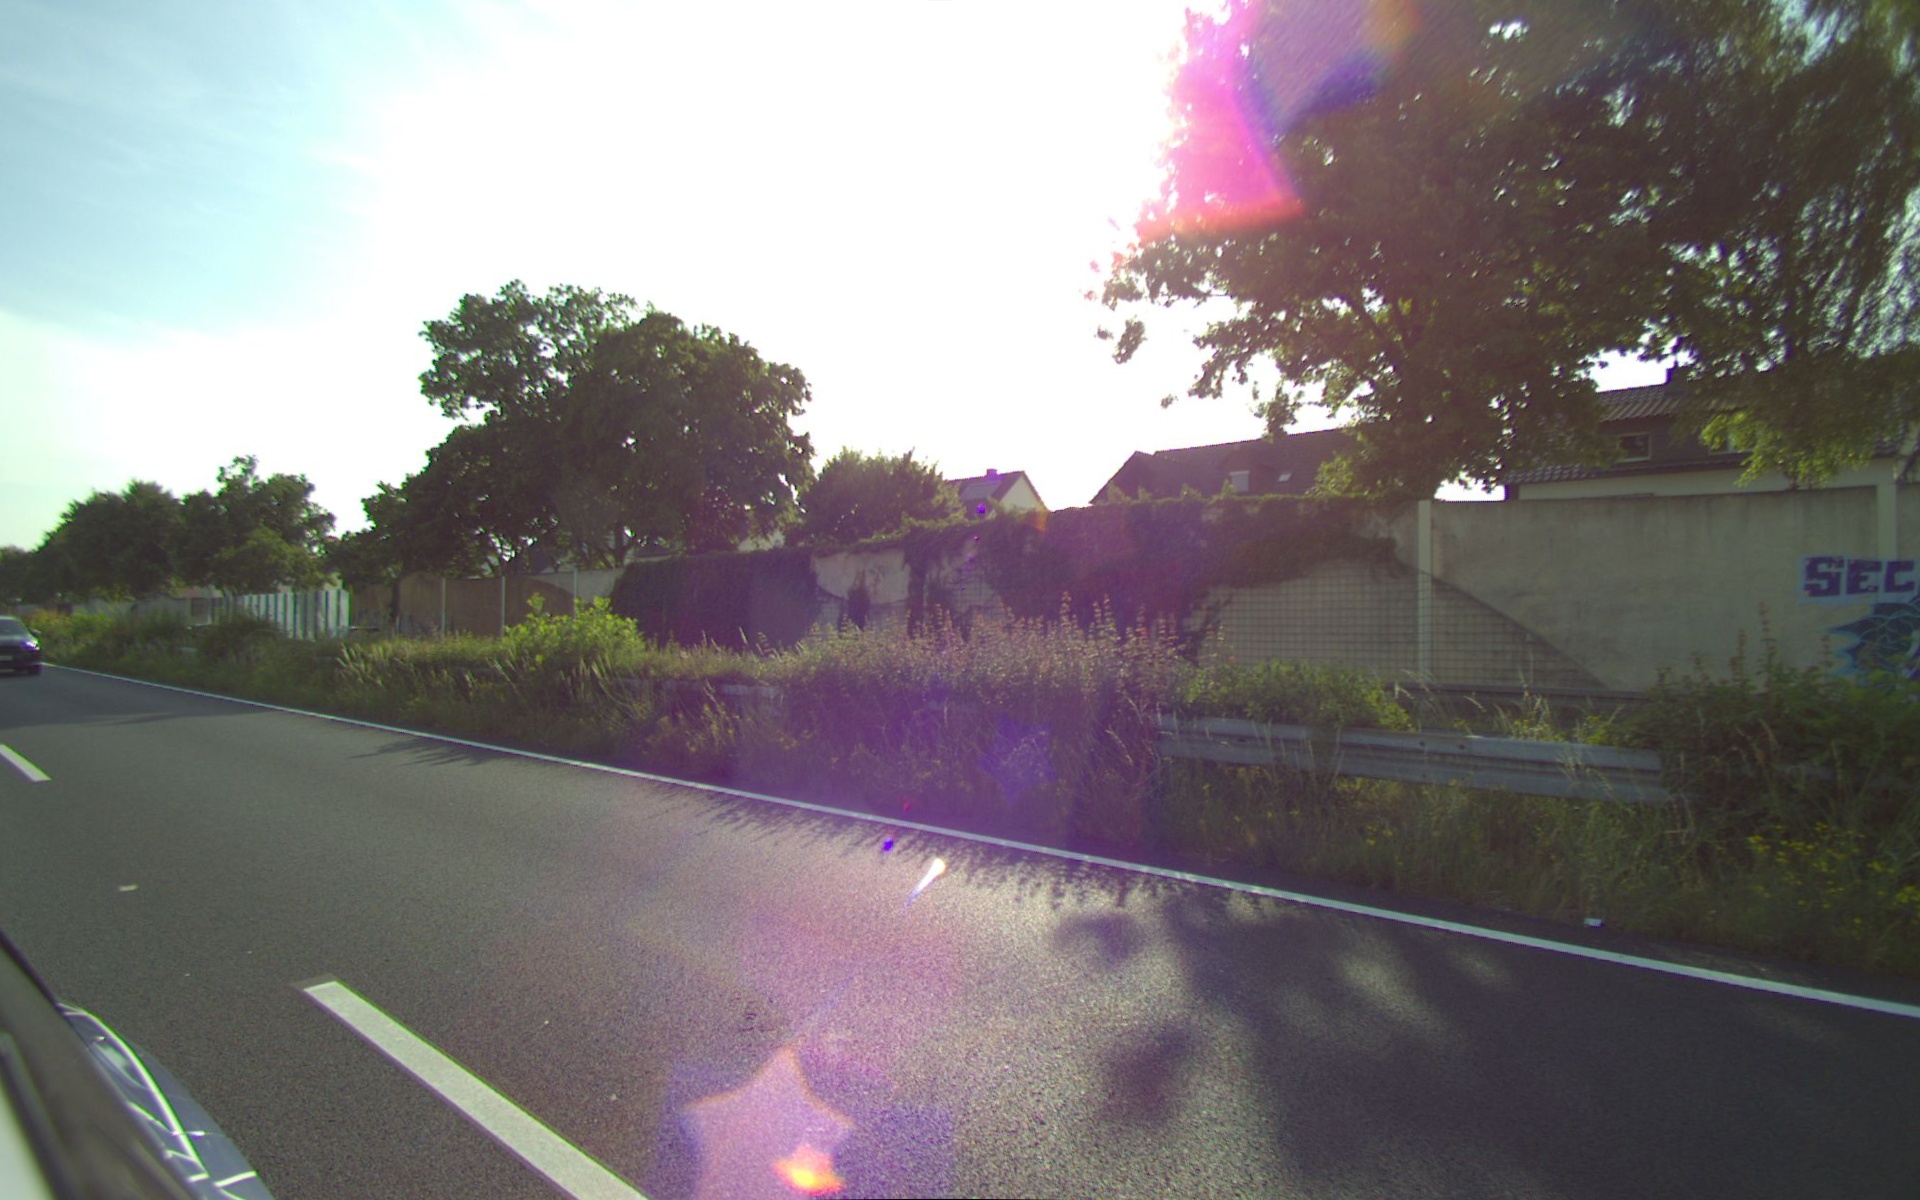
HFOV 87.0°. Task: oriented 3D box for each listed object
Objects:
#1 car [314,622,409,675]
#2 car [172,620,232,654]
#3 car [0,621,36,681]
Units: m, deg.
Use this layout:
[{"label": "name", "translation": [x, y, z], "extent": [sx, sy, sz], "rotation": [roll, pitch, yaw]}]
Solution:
[{"label": "car", "translation": [-22.883, 1.790, 38.617], "extent": [4.363, 1.869, 1.816], "rotation": [-1, 0, 41]}, {"label": "car", "translation": [-42.369, 2.038, 56.567], "extent": [3.998, 1.741, 1.917], "rotation": [-1, 0, 41]}, {"label": "car", "translation": [-26.736, 1.371, 27.650], "extent": [4.246, 1.536, 1.798], "rotation": [-1, 0, 42]}]
